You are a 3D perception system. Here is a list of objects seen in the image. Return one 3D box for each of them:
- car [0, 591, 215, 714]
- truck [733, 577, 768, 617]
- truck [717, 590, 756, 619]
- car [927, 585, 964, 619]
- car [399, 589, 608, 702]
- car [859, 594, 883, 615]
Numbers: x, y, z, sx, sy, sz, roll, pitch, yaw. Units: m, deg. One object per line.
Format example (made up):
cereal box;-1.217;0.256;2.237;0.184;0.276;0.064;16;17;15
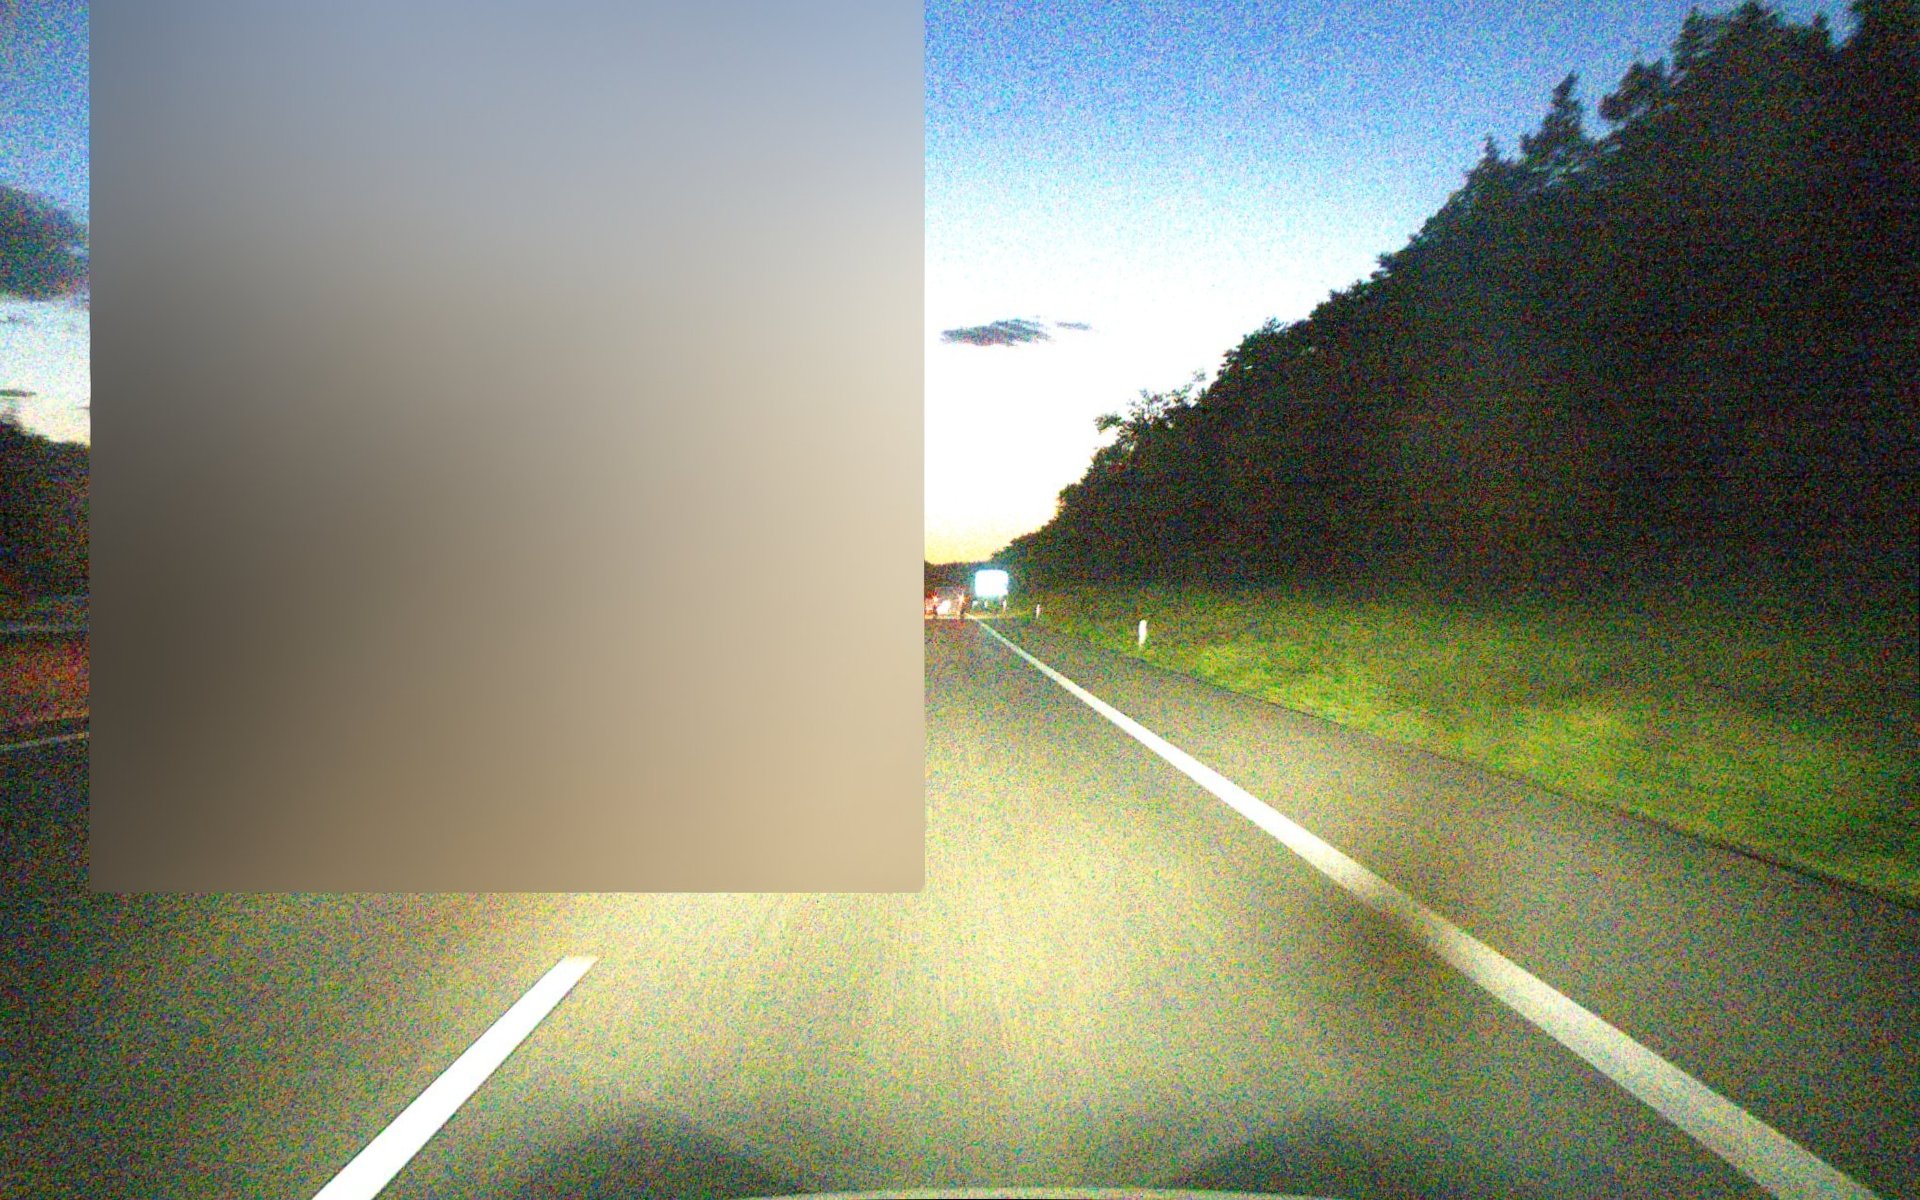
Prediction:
car;-15.430;0.852;29.469;2.152;1.989;4.762;1;0;-1
truck;-24.663;-0.345;195.237;3.258;4.511;6.706;-1;0;-1
truck;-21.826;0.418;162.018;2.814;2.688;7.884;-1;0;-1
car;-0.924;0.122;102.830;2.152;1.989;4.762;-3;0;-1
car;-6.788;0.608;25.194;1.743;1.513;5.253;1;0;-1
car;-8.917;0.417;165.531;2.152;1.989;4.633;1;0;-1
